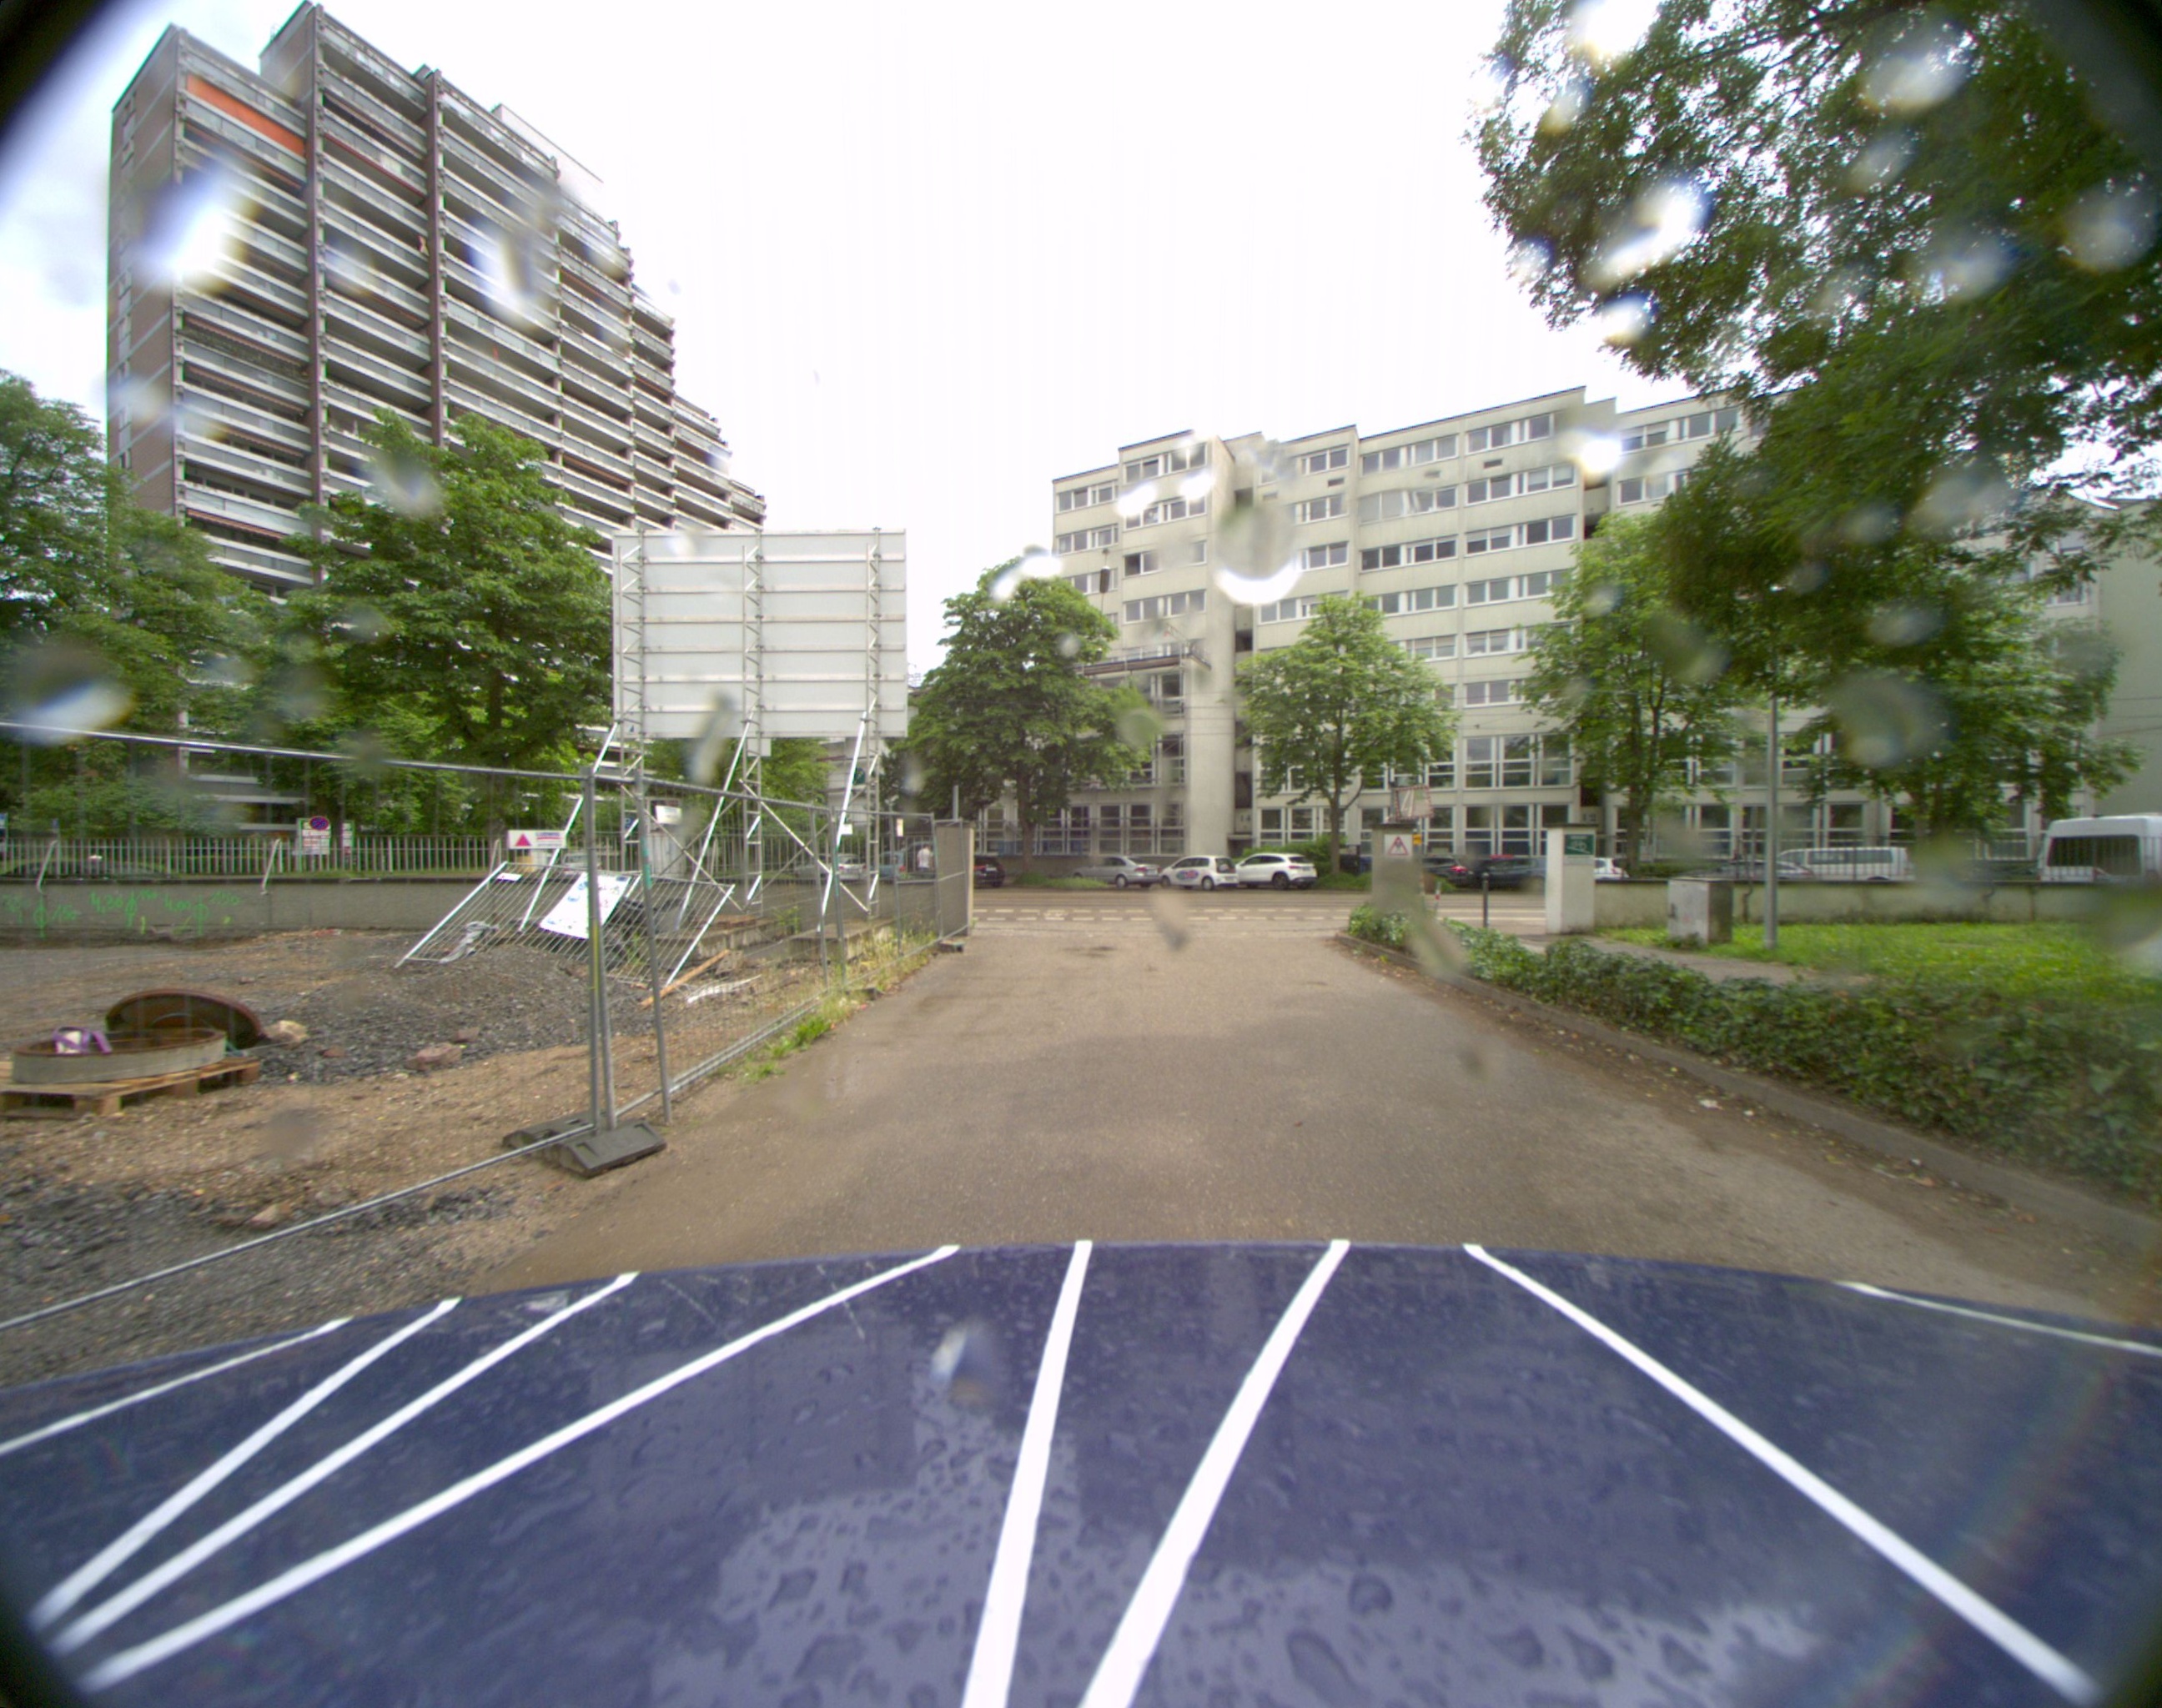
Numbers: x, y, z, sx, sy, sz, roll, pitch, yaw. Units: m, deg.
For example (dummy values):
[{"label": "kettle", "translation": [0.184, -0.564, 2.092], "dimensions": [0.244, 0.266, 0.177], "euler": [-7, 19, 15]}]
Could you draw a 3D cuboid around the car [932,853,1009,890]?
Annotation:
[{"label": "car", "translation": [-4.785, 0.710, 32.618], "dimensions": [1.625, 1.419, 3.637], "euler": [-1, 1, -40]}]

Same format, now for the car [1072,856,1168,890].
[{"label": "car", "translation": [1.666, 0.792, 33.201], "dimensions": [3.988, 1.406, 1.727], "euler": [0, -1, 43]}]

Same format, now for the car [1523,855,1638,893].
[{"label": "car", "translation": [21.460, 0.840, 32.765], "dimensions": [1.794, 1.497, 3.769], "euler": [1, 0, -41]}]

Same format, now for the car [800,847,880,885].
[{"label": "car", "translation": [-10.428, 0.476, 32.714], "dimensions": [1.862, 1.478, 3.988], "euler": [-3, 2, -40]}]

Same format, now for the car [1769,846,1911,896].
[{"label": "car", "translation": [31.841, 0.677, 31.947], "dimensions": [1.794, 1.921, 4.072], "euler": [1, 0, -41]}]

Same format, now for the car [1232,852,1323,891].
[{"label": "car", "translation": [8.432, 0.718, 32.714], "dimensions": [1.711, 1.593, 3.380], "euler": [1, -1, -42]}]

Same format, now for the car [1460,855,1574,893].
[{"label": "car", "translation": [18.445, 0.821, 32.263], "dimensions": [1.794, 1.497, 3.769], "euler": [1, 0, -41]}]

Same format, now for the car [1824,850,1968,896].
[{"label": "car", "translation": [34.532, 0.766, 32.304], "dimensions": [1.794, 1.796, 4.072], "euler": [1, 0, -41]}]

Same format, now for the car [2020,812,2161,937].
[{"label": "car", "translation": [24.398, 0.468, 16.597], "dimensions": [5.077, 2.566, 2.095], "euler": [1, 0, 1]}]

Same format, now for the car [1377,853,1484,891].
[{"label": "car", "translation": [15.015, 0.752, 32.784], "dimensions": [1.794, 1.497, 3.769], "euler": [1, 0, -41]}]

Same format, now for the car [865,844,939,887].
[{"label": "car", "translation": [-7.760, 0.434, 32.788], "dimensions": [1.625, 1.736, 3.637], "euler": [-1, 1, -40]}]

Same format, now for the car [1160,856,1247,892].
[{"label": "car", "translation": [5.185, 0.824, 32.496], "dimensions": [1.658, 1.436, 3.380], "euler": [1, -1, -42]}]

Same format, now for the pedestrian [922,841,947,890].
[{"label": "pedestrian", "translation": [-6.011, 0.465, 31.173], "dimensions": [0.931, 2.002, 0.859], "euler": [0, 1, -7]}]

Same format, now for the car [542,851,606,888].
[{"label": "car", "translation": [-22.333, 0.631, 33.412], "dimensions": [1.862, 1.478, 3.988], "euler": [-3, 2, -40]}]

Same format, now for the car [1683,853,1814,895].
[{"label": "car", "translation": [28.327, 0.817, 32.442], "dimensions": [4.072, 1.641, 1.794], "euler": [1, 0, 38]}]
